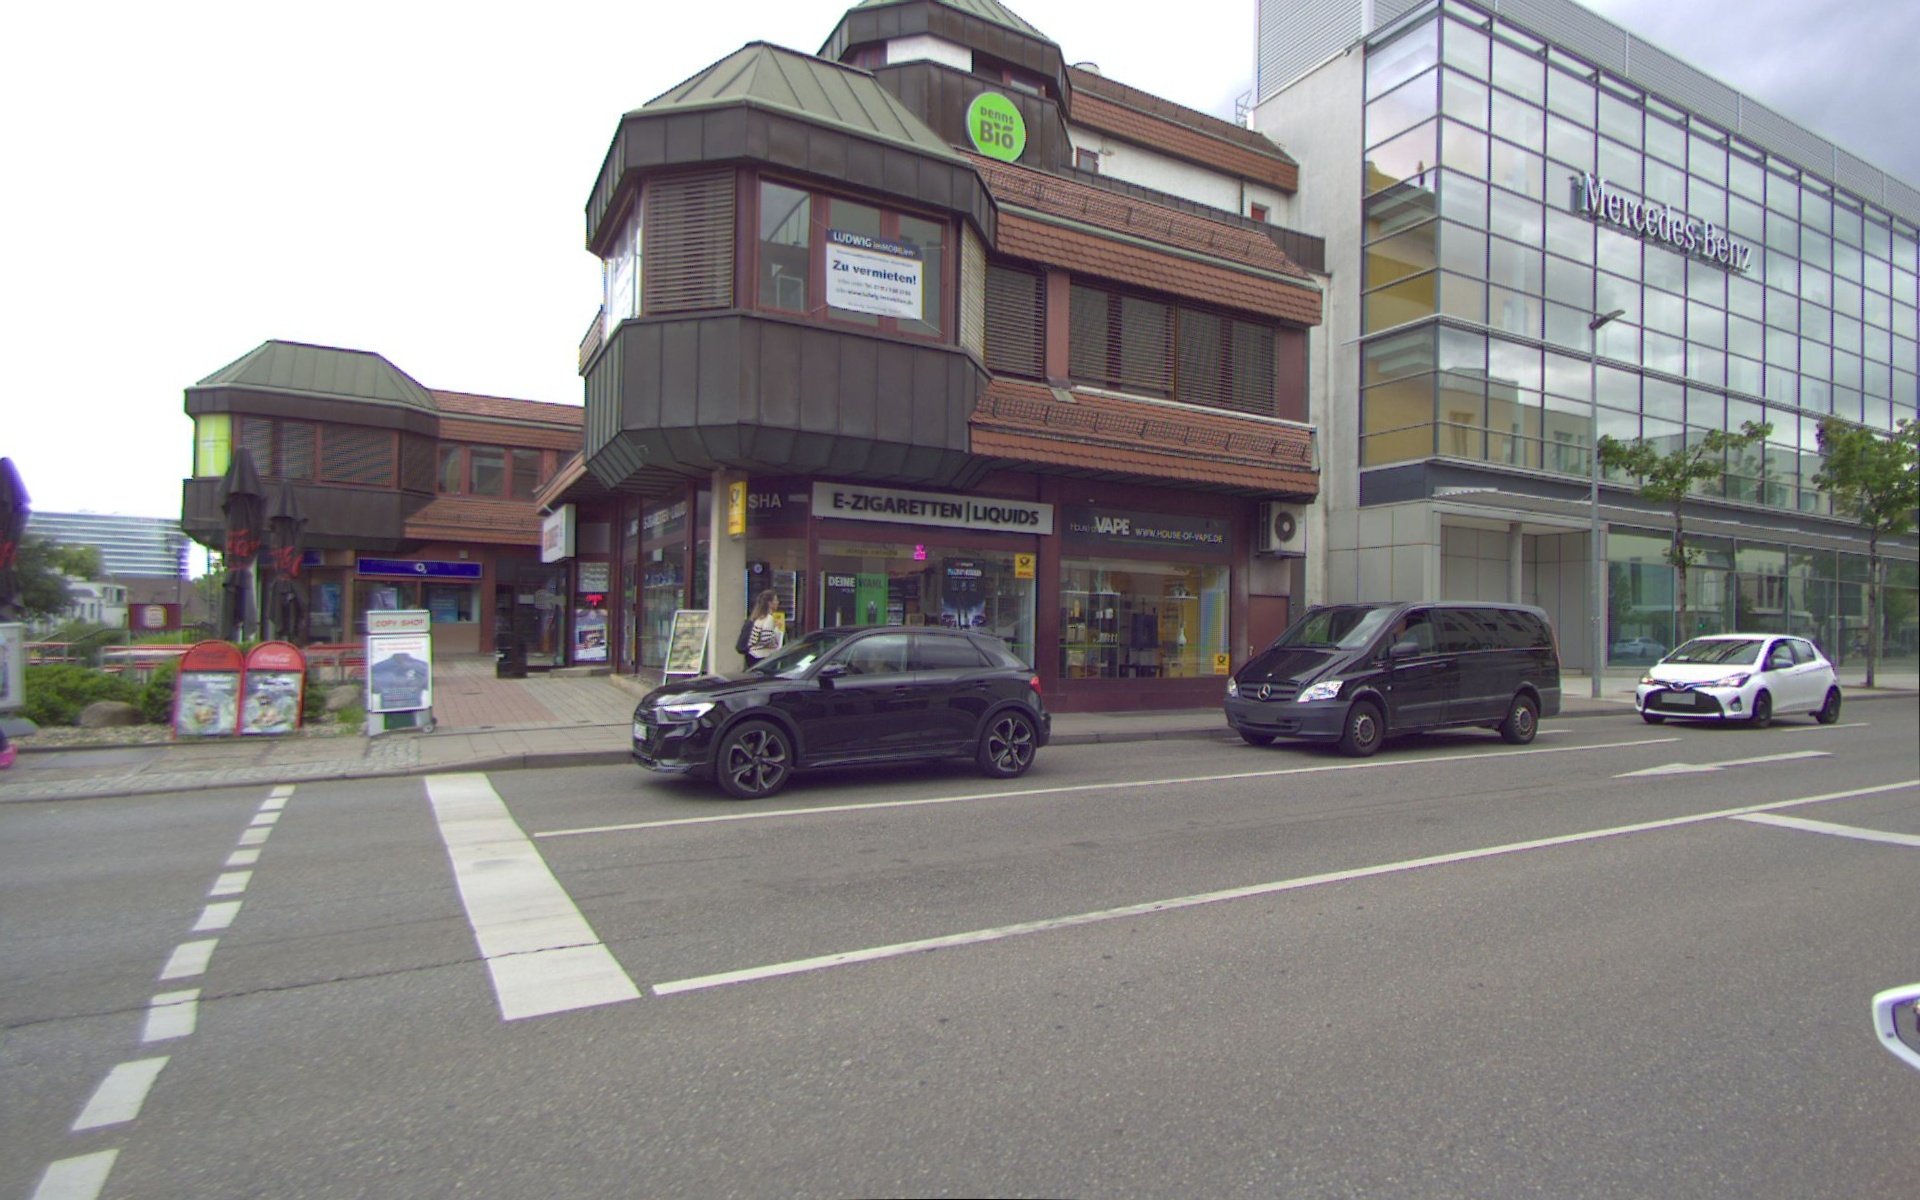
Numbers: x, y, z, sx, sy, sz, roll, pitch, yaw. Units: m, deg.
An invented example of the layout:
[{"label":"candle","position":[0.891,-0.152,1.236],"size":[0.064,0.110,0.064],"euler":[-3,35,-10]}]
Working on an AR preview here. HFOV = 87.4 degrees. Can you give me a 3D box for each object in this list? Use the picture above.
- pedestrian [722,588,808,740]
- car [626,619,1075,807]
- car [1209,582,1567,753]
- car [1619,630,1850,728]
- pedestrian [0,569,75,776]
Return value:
[{"label":"pedestrian","position":[-2.310,0.735,11.871],"size":[0.769,1.715,0.744],"euler":[1,-1,-33]},{"label":"car","position":[-0.980,0.943,9.641],"size":[3.954,1.462,1.693],"euler":[2,-1,-31]},{"label":"car","position":[5.762,0.844,13.371],"size":[4.840,1.935,1.857],"euler":[1,-2,-30]},{"label":"car","position":[13.073,1.272,16.922],"size":[3.951,1.484,1.653],"euler":[1,-2,-29]},{"label":"pedestrian","position":[-8.719,0.645,9.244],"size":[0.768,1.832,0.804],"euler":[1,0,-37]}]
